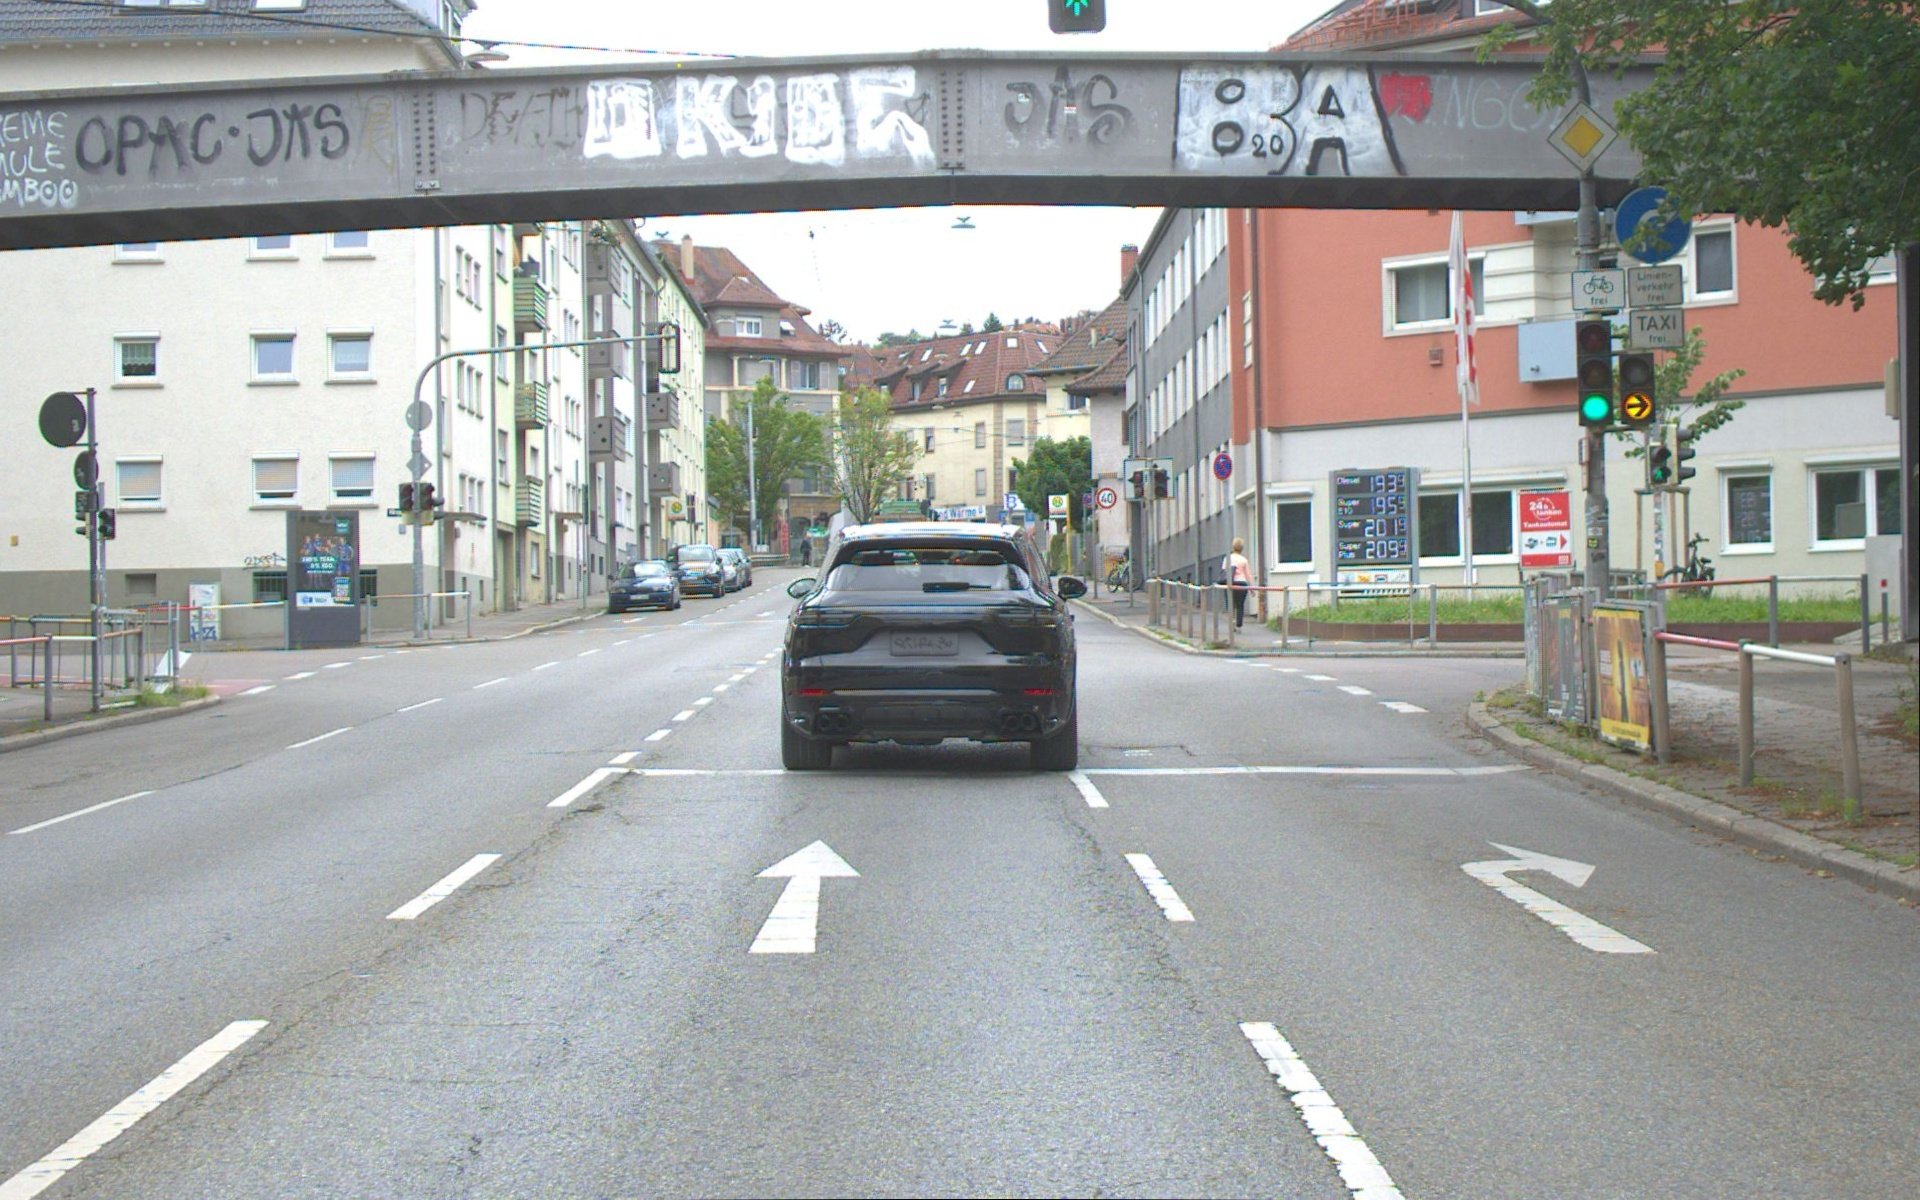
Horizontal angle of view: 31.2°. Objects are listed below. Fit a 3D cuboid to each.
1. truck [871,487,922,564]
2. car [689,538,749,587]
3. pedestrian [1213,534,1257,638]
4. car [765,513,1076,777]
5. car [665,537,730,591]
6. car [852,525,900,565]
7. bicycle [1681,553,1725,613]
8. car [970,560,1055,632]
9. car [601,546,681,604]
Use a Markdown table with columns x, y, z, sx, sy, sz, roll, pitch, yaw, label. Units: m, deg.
| x | y | z | sx | sy | sz | roll | pitch | yaw | label |
| --- | --- | --- | --- | --- | --- | --- | --- | --- | --- |
| -2.949 | -3.459 | 160.281 | 2.266 | 3.412 | 9.879 | -1 | 1 | -1 | truck |
| -8.304 | -1.300 | 118.831 | 1.765 | 1.644 | 4.000 | -1 | 1 | 0 | car |
| 4.763 | -0.247 | 59.615 | 0.652 | 1.786 | 0.715 | 0 | 1 | -3 | pedestrian |
| -0.266 | 0.240 | 24.097 | 1.993 | 1.656 | 4.001 | 0 | 2 | 0 | car |
| -8.369 | -1.161 | 109.890 | 1.765 | 1.644 | 4.000 | -1 | 1 | 0 | car |
| -3.282 | -2.151 | 134.681 | 1.765 | 1.503 | 4.000 | -1 | 1 | 0 | car |
| 11.499 | -0.268 | 53.169 | 0.341 | 0.900 | 1.741 | 0 | 1 | 23 | bicycle |
| 1.098 | -0.106 | 73.518 | 1.741 | 1.395 | 4.001 | 0 | 2 | 0 | car |
| -8.638 | -0.691 | 93.280 | 1.765 | 1.503 | 4.000 | -1 | 1 | 0 | car |
